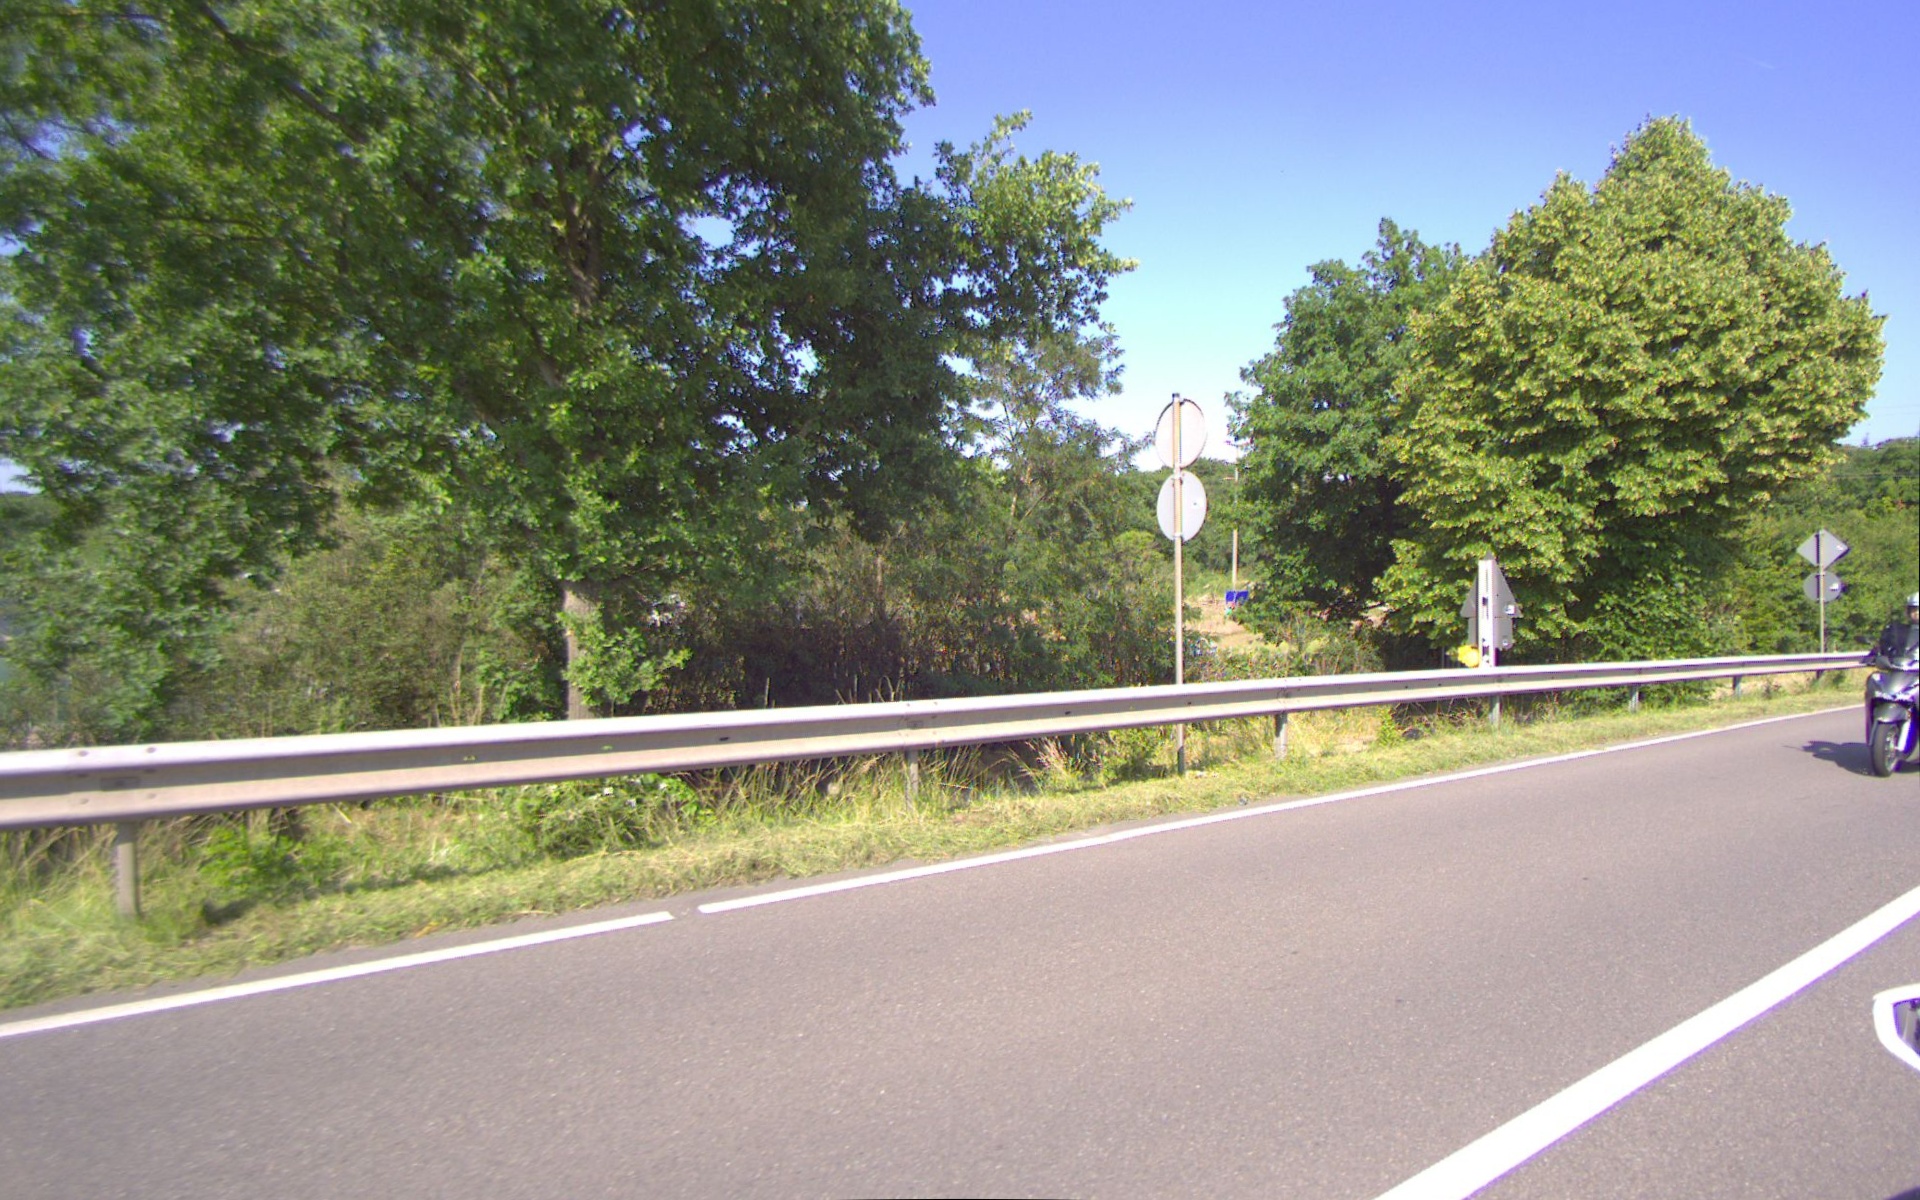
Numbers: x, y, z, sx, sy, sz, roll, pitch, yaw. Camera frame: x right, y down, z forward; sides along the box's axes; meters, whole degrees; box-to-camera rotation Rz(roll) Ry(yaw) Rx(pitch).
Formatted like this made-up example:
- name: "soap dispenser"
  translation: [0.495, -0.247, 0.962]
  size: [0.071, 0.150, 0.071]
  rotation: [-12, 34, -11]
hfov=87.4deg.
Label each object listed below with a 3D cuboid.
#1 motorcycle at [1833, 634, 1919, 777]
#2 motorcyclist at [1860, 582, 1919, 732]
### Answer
- name: "motorcycle"
  translation: [9.426, 0.981, 9.848]
  size: [2.054, 1.267, 0.713]
  rotation: [1, 0, -31]
- name: "motorcyclist"
  translation: [9.414, 0.551, 9.832]
  size: [0.775, 1.426, 0.695]
  rotation: [1, 0, -31]
